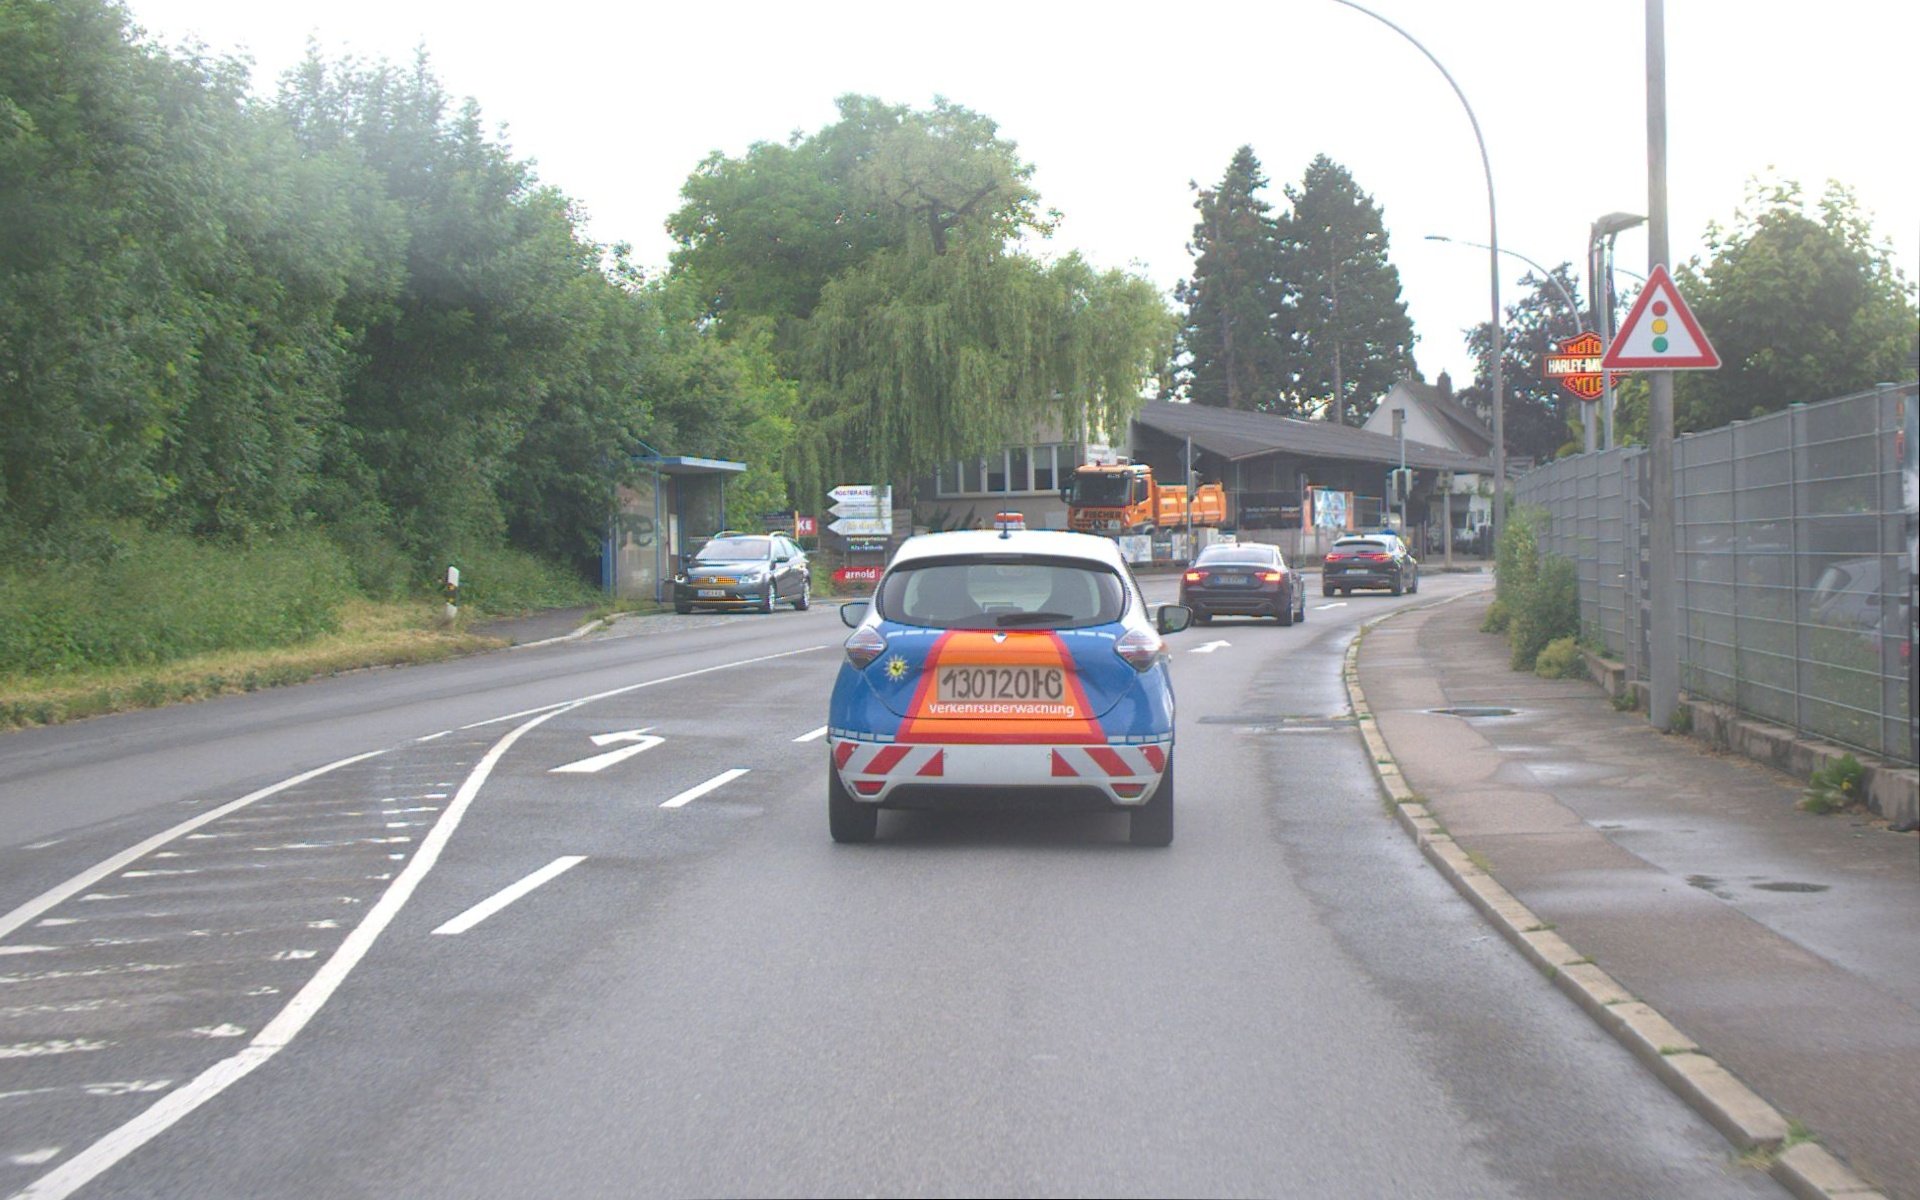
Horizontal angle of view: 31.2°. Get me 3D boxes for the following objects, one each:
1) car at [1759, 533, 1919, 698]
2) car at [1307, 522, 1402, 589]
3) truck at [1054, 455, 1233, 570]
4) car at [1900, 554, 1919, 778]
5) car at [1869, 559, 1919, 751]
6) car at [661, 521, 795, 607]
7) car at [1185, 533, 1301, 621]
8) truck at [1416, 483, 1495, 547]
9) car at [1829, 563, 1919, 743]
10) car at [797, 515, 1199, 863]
[{"bbox_3d":[9.220,0.175,30.625,3.989,1.399,1.788,2,0,11],"label":"car"},{"bbox_3d":[9.125,-1.008,79.321,1.994,1.415,3.998,2,0,8],"label":"car"},{"bbox_3d":[6.090,-2.788,112.256,2.701,3.400,9.060,2,0,24],"label":"truck"},{"bbox_3d":[8.024,0.471,21.194,3.987,1.403,1.593,2,0,0],"label":"car"},{"bbox_3d":[9.029,0.461,25.788,3.988,1.399,1.999,2,0,7],"label":"car"},{"bbox_3d":[-4.225,-0.633,63.311,1.993,1.469,4.700,2,0,2],"label":"car"},{"bbox_3d":[4.754,-0.367,57.410,1.721,1.371,3.932,2,0,7],"label":"car"},{"bbox_3d":[23.556,-4.011,163.320,2.397,2.917,5.950,2,1,21],"label":"truck"},{"bbox_3d":[9.335,0.410,28.377,3.988,1.429,1.825,0,1,7],"label":"car"},{"bbox_3d":[0.266,0.376,18.212,1.889,1.626,4.000,0,1,3],"label":"car"}]
